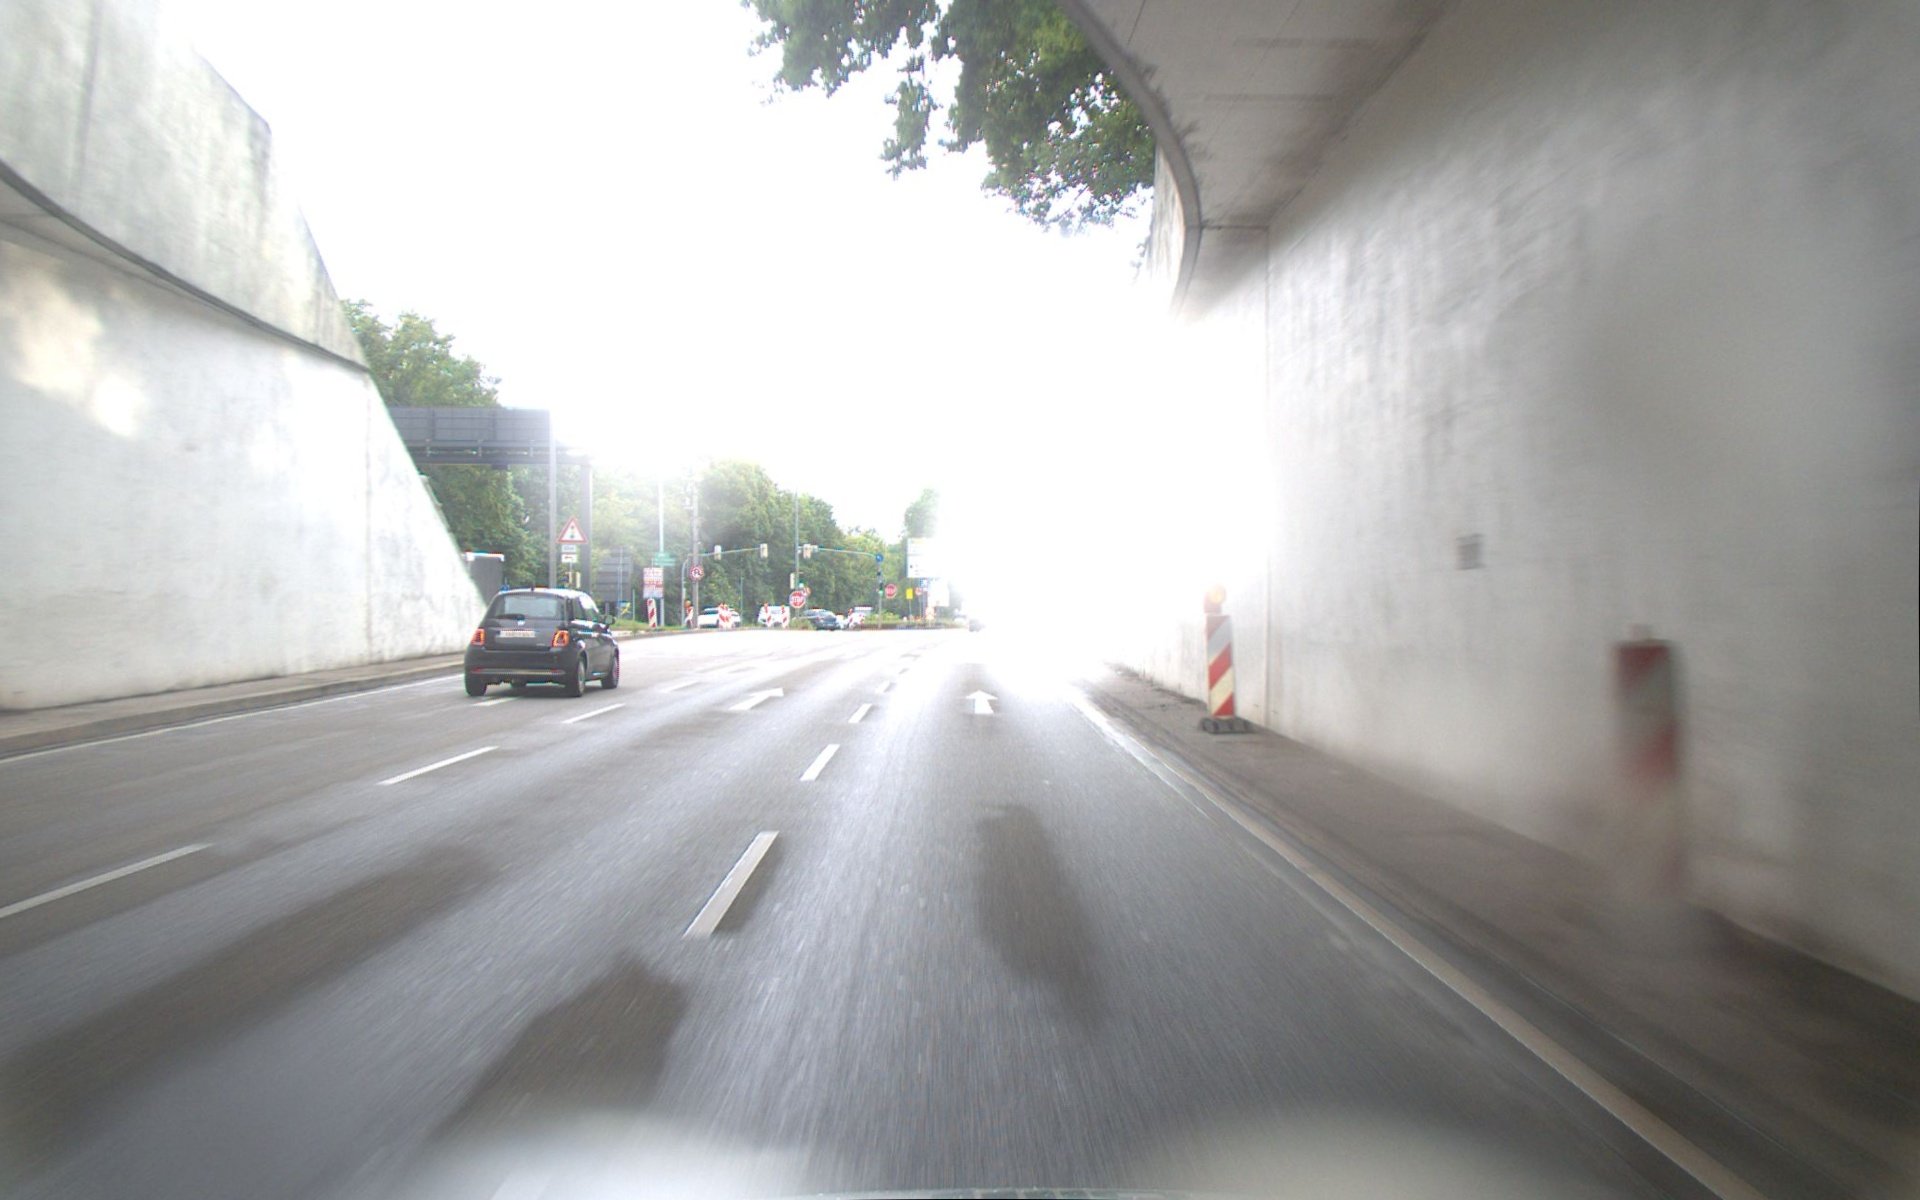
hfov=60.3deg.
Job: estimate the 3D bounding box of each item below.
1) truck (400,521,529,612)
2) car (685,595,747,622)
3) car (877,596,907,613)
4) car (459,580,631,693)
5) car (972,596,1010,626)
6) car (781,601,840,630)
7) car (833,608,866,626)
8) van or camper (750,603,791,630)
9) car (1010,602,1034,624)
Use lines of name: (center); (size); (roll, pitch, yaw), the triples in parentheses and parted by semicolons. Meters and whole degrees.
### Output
truck: (-19.971, -1.282, 67.106); (2.740, 3.333, 7.148); (3, 0, 1)
car: (-17.157, 0.572, 116.363); (3.909, 1.713, 1.896); (2, 0, 26)
car: (-5.997, 0.402, 145.622); (1.967, 1.324, 4.318); (2, -1, 6)
car: (-5.938, 0.469, 24.047); (1.579, 1.479, 3.573); (1, 1, 0)
car: (1.644, 0.606, 88.893); (1.953, 1.473, 4.314); (3, -1, 0)
car: (-10.013, 1.017, 110.476); (1.881, 1.713, 3.940); (4, 0, -42)
car: (-9.113, 1.389, 136.743); (1.967, 1.324, 4.318); (2, -1, 6)
van or camper: (-15.348, 1.374, 133.983); (2.083, 2.049, 5.317); (2, -1, 6)
car: (6.011, 1.285, 160.196); (1.953, 2.049, 3.998); (3, -1, -1)
